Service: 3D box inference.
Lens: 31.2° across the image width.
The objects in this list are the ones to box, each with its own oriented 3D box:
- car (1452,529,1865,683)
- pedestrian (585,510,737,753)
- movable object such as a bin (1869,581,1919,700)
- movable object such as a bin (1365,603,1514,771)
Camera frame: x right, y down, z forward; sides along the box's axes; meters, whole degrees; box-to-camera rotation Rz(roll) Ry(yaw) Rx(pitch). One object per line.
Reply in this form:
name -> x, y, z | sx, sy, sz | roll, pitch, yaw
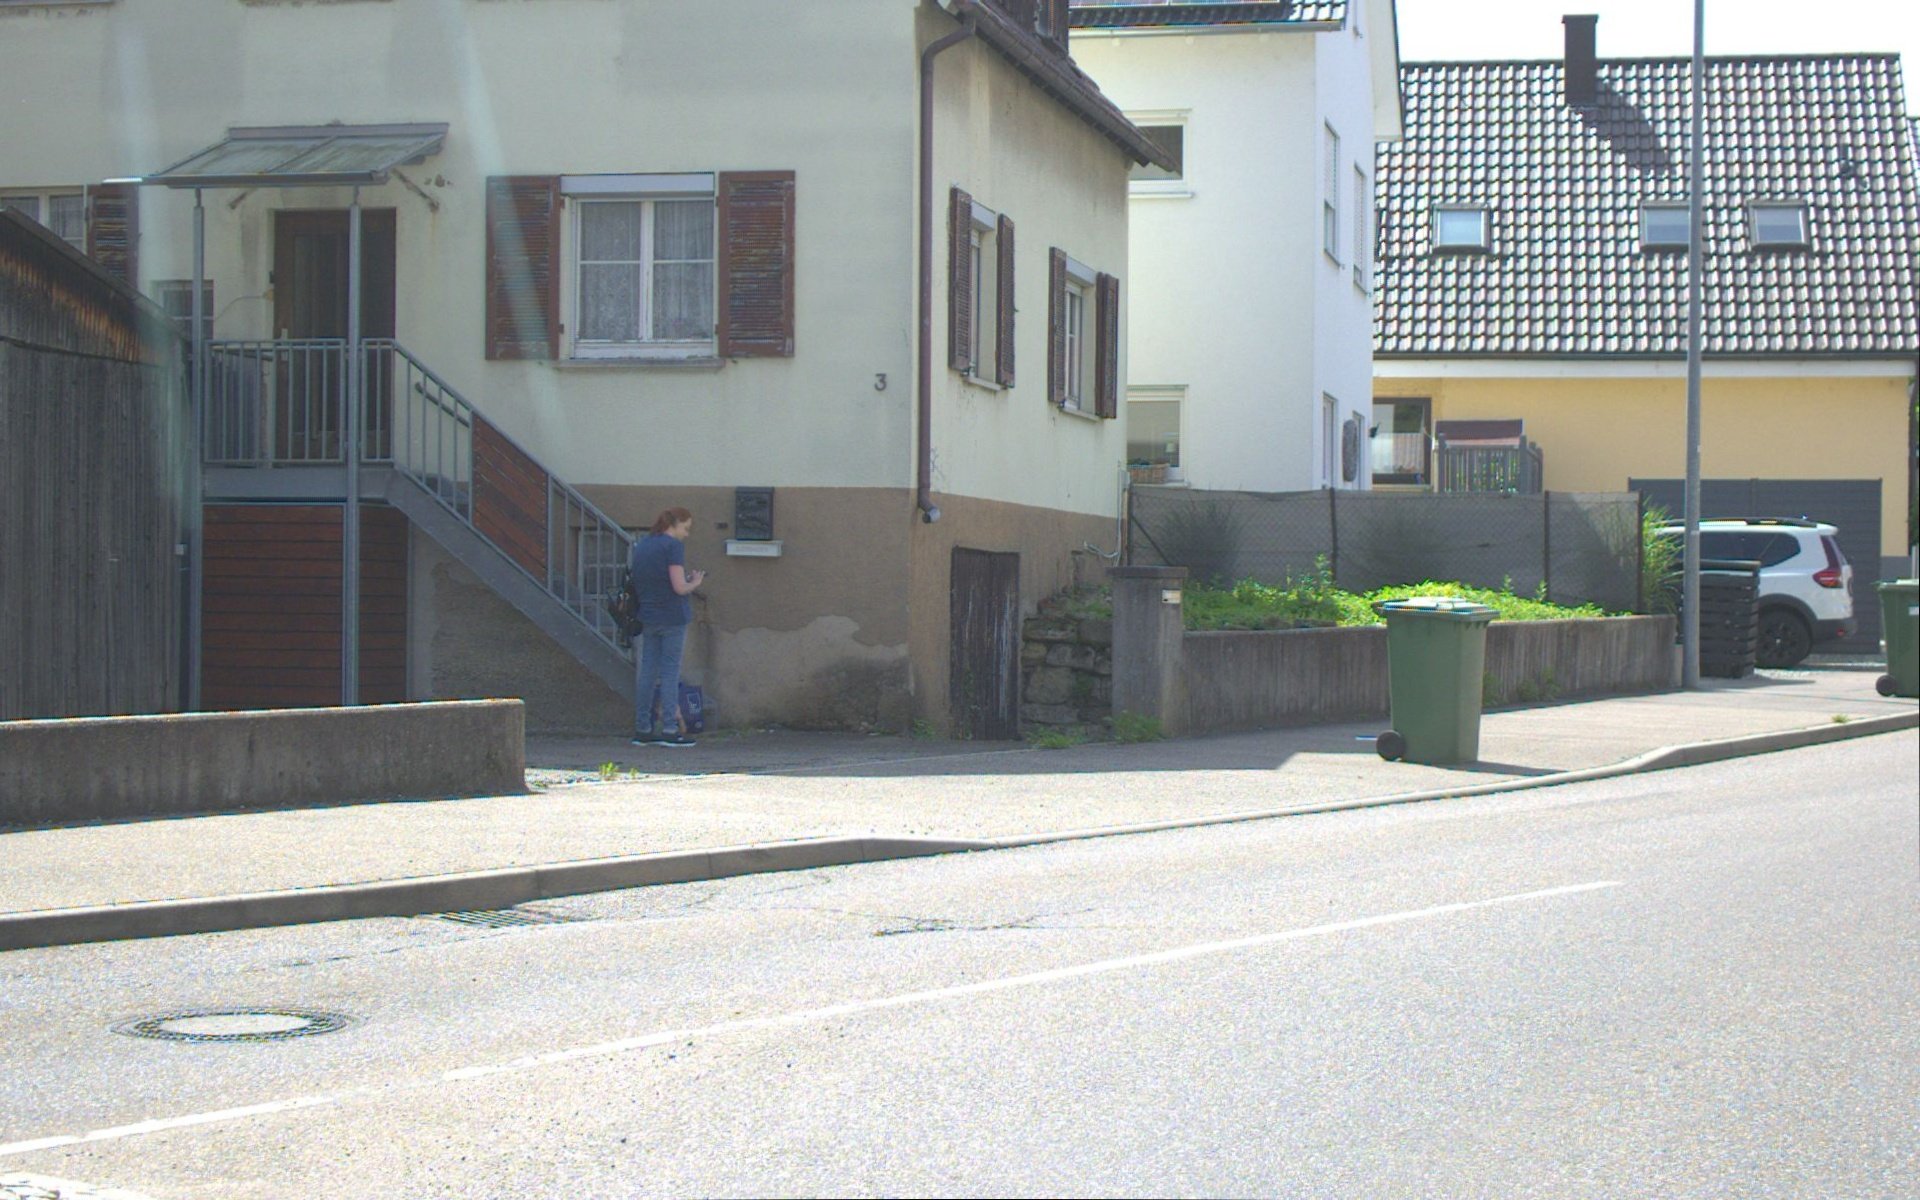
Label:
car -> 8.009, 0.052, 39.328 | 4.405, 1.617, 1.998 | 1, 0, 18
pedestrian -> -1.986, 0.198, 22.858 | 0.778, 1.568, 0.627 | 2, 1, 22
movable object such as a bin -> 8.932, 0.374, 31.747 | 0.827, 1.073, 0.816 | 2, 2, 31
movable object such as a bin -> 3.144, 0.560, 22.521 | 0.792, 1.053, 0.650 | 1, 1, 27
